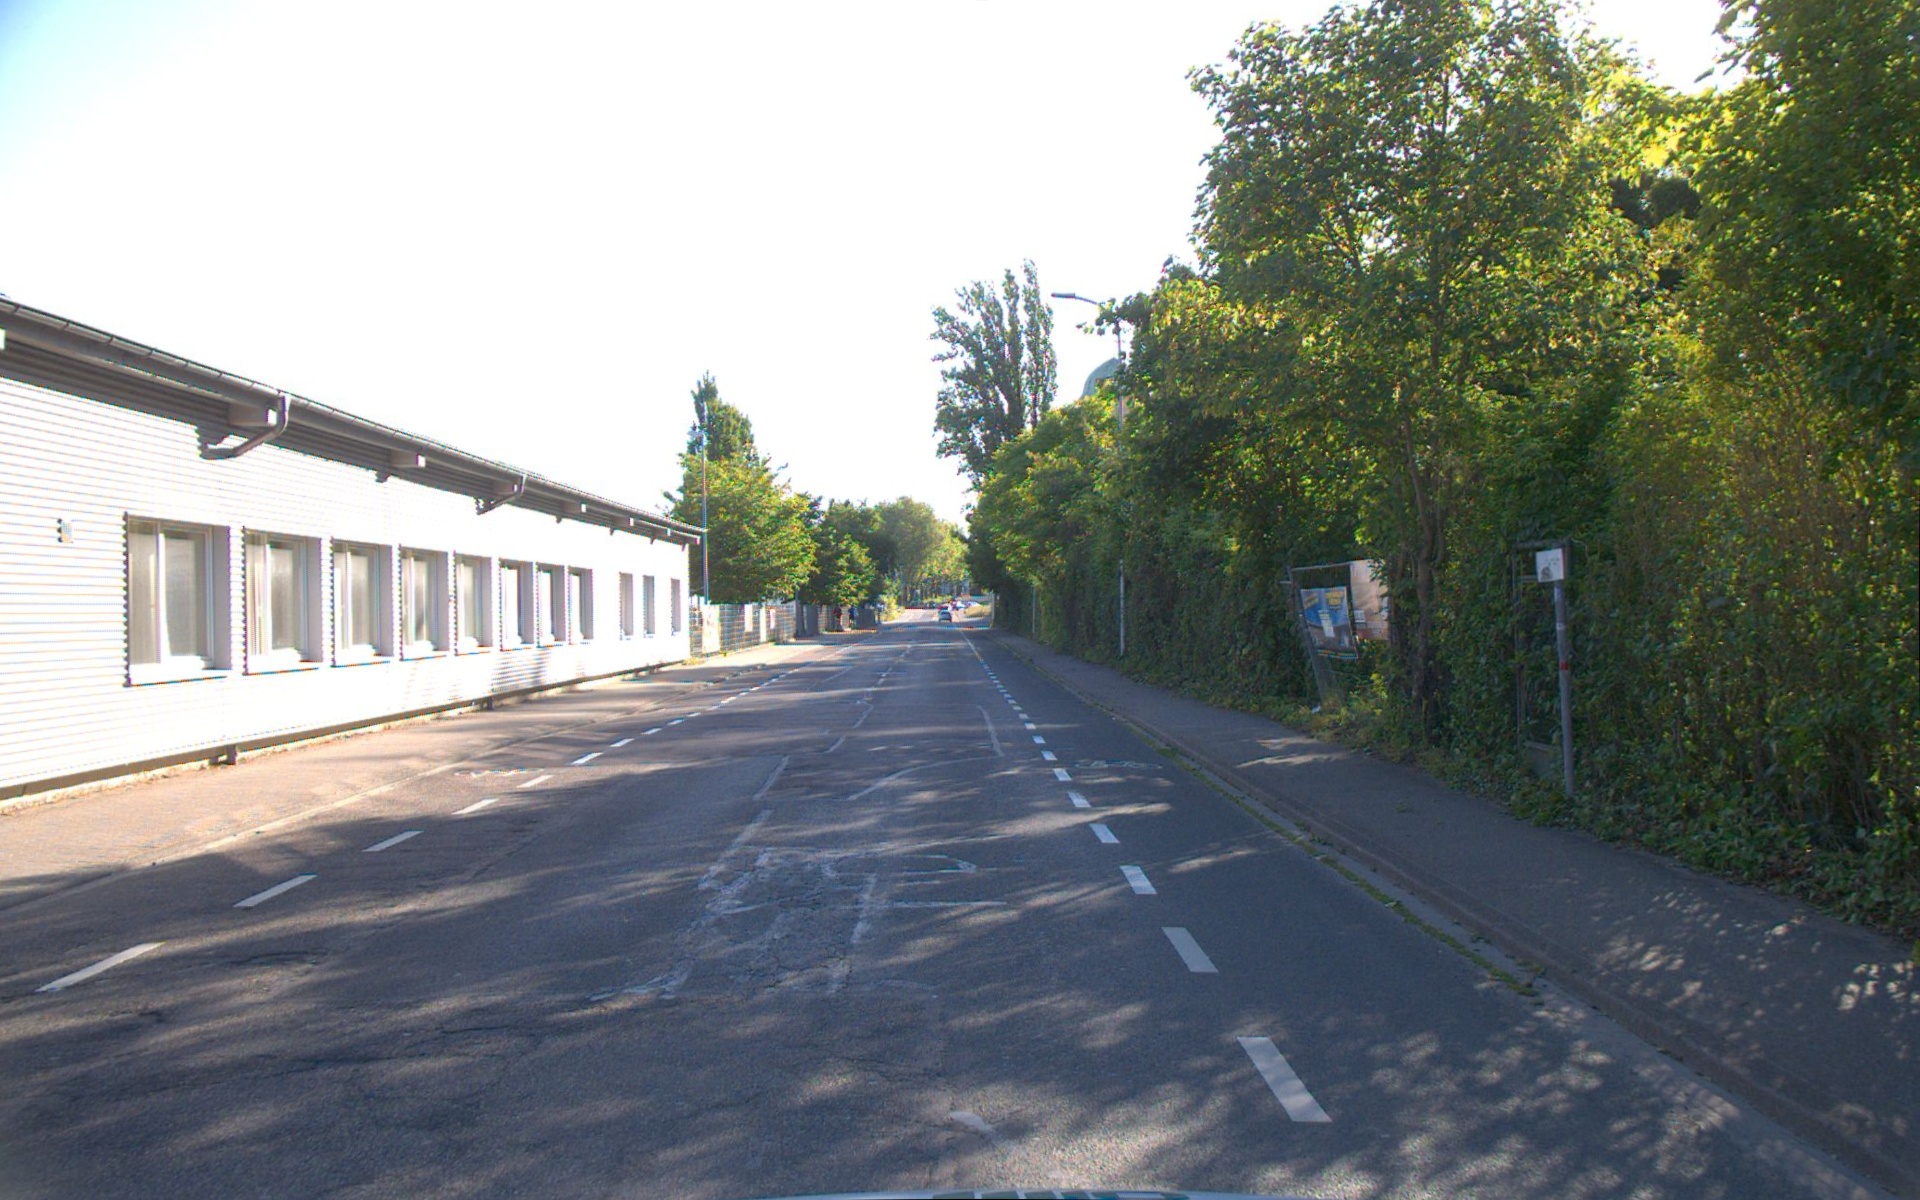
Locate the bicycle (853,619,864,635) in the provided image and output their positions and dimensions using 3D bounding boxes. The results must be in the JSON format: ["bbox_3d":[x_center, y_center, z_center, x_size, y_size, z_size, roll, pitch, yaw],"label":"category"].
[{"bbox_3d":[-6.646,1.771,108.147,0.675,1.052,1.350,0,0,-1],"label":"bicycle"}]

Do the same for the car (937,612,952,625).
[{"bbox_3d":[-2.091,2.427,221.079,1.902,1.680,4.309,1,0,-1],"label":"car"}]

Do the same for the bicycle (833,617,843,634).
[{"bbox_3d":[-8.002,1.662,108.531,0.551,1.052,1.350,0,0,-1],"label":"bicycle"}]

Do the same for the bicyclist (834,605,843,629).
[{"bbox_3d":[-7.990,1.112,108.456,0.548,1.560,0.689,0,0,-1],"label":"bicyclist"}]

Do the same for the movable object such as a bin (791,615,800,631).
[{"bbox_3d":[-11.758,1.629,118.338,0.453,1.095,1.569,-1,0,-1],"label":"movable object such as a bin"}]

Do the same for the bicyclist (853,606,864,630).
[{"bbox_3d":[-6.638,1.174,108.108,0.675,1.559,0.722,0,0,-1],"label":"bicyclist"}]
